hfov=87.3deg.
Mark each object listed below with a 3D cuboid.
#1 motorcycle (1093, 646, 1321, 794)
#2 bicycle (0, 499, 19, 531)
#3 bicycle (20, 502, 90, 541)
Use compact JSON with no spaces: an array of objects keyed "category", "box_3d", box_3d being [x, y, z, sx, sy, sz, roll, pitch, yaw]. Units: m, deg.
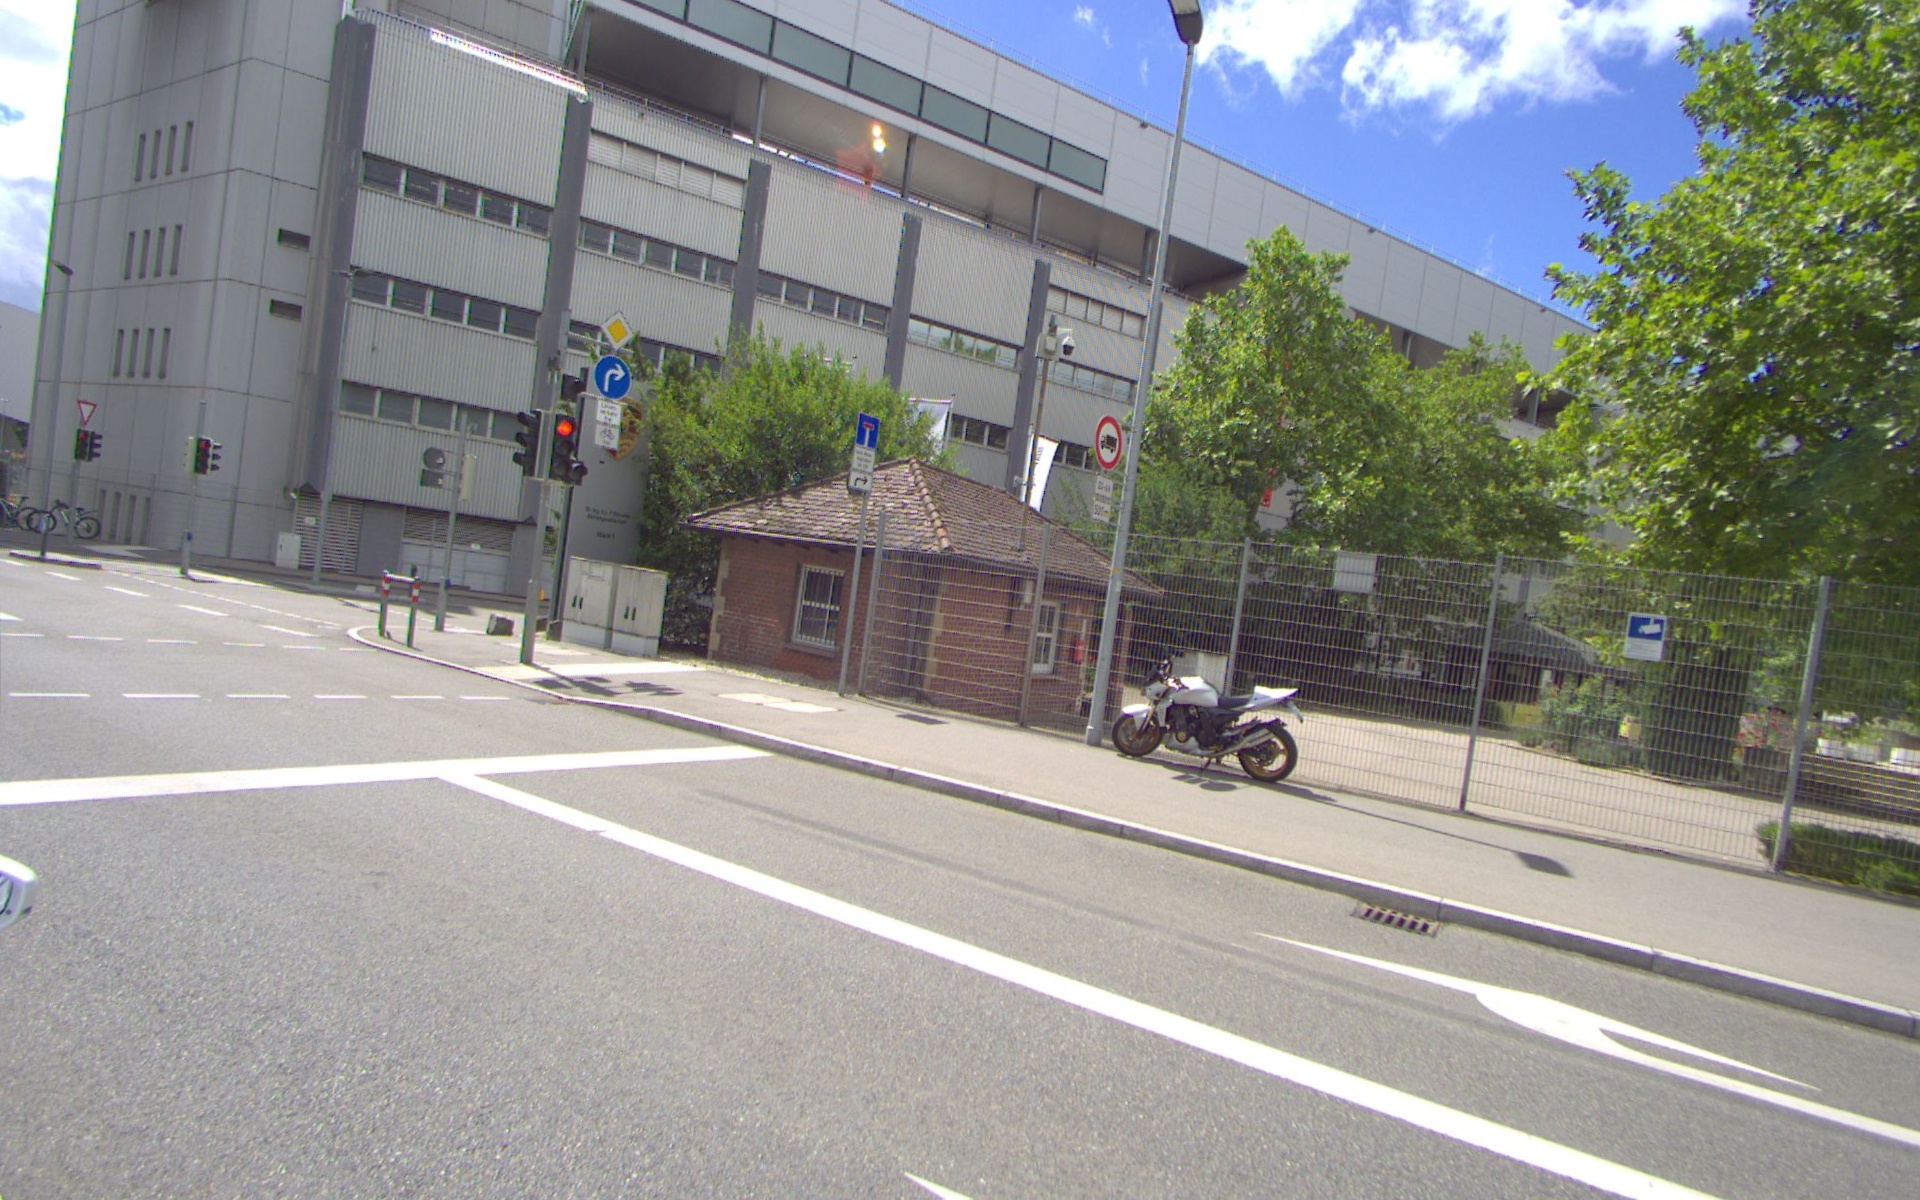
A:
[{"category":"motorcycle","box_3d":[2.563,1.197,10.532,2.110,1.173,0.693,7,2,27]},{"category":"bicycle","box_3d":[-30.566,-2.761,31.597,1.891,0.948,0.399,7,0,13]},{"category":"bicycle","box_3d":[-28.139,-2.444,31.283,1.892,0.948,0.399,8,0,6]}]
